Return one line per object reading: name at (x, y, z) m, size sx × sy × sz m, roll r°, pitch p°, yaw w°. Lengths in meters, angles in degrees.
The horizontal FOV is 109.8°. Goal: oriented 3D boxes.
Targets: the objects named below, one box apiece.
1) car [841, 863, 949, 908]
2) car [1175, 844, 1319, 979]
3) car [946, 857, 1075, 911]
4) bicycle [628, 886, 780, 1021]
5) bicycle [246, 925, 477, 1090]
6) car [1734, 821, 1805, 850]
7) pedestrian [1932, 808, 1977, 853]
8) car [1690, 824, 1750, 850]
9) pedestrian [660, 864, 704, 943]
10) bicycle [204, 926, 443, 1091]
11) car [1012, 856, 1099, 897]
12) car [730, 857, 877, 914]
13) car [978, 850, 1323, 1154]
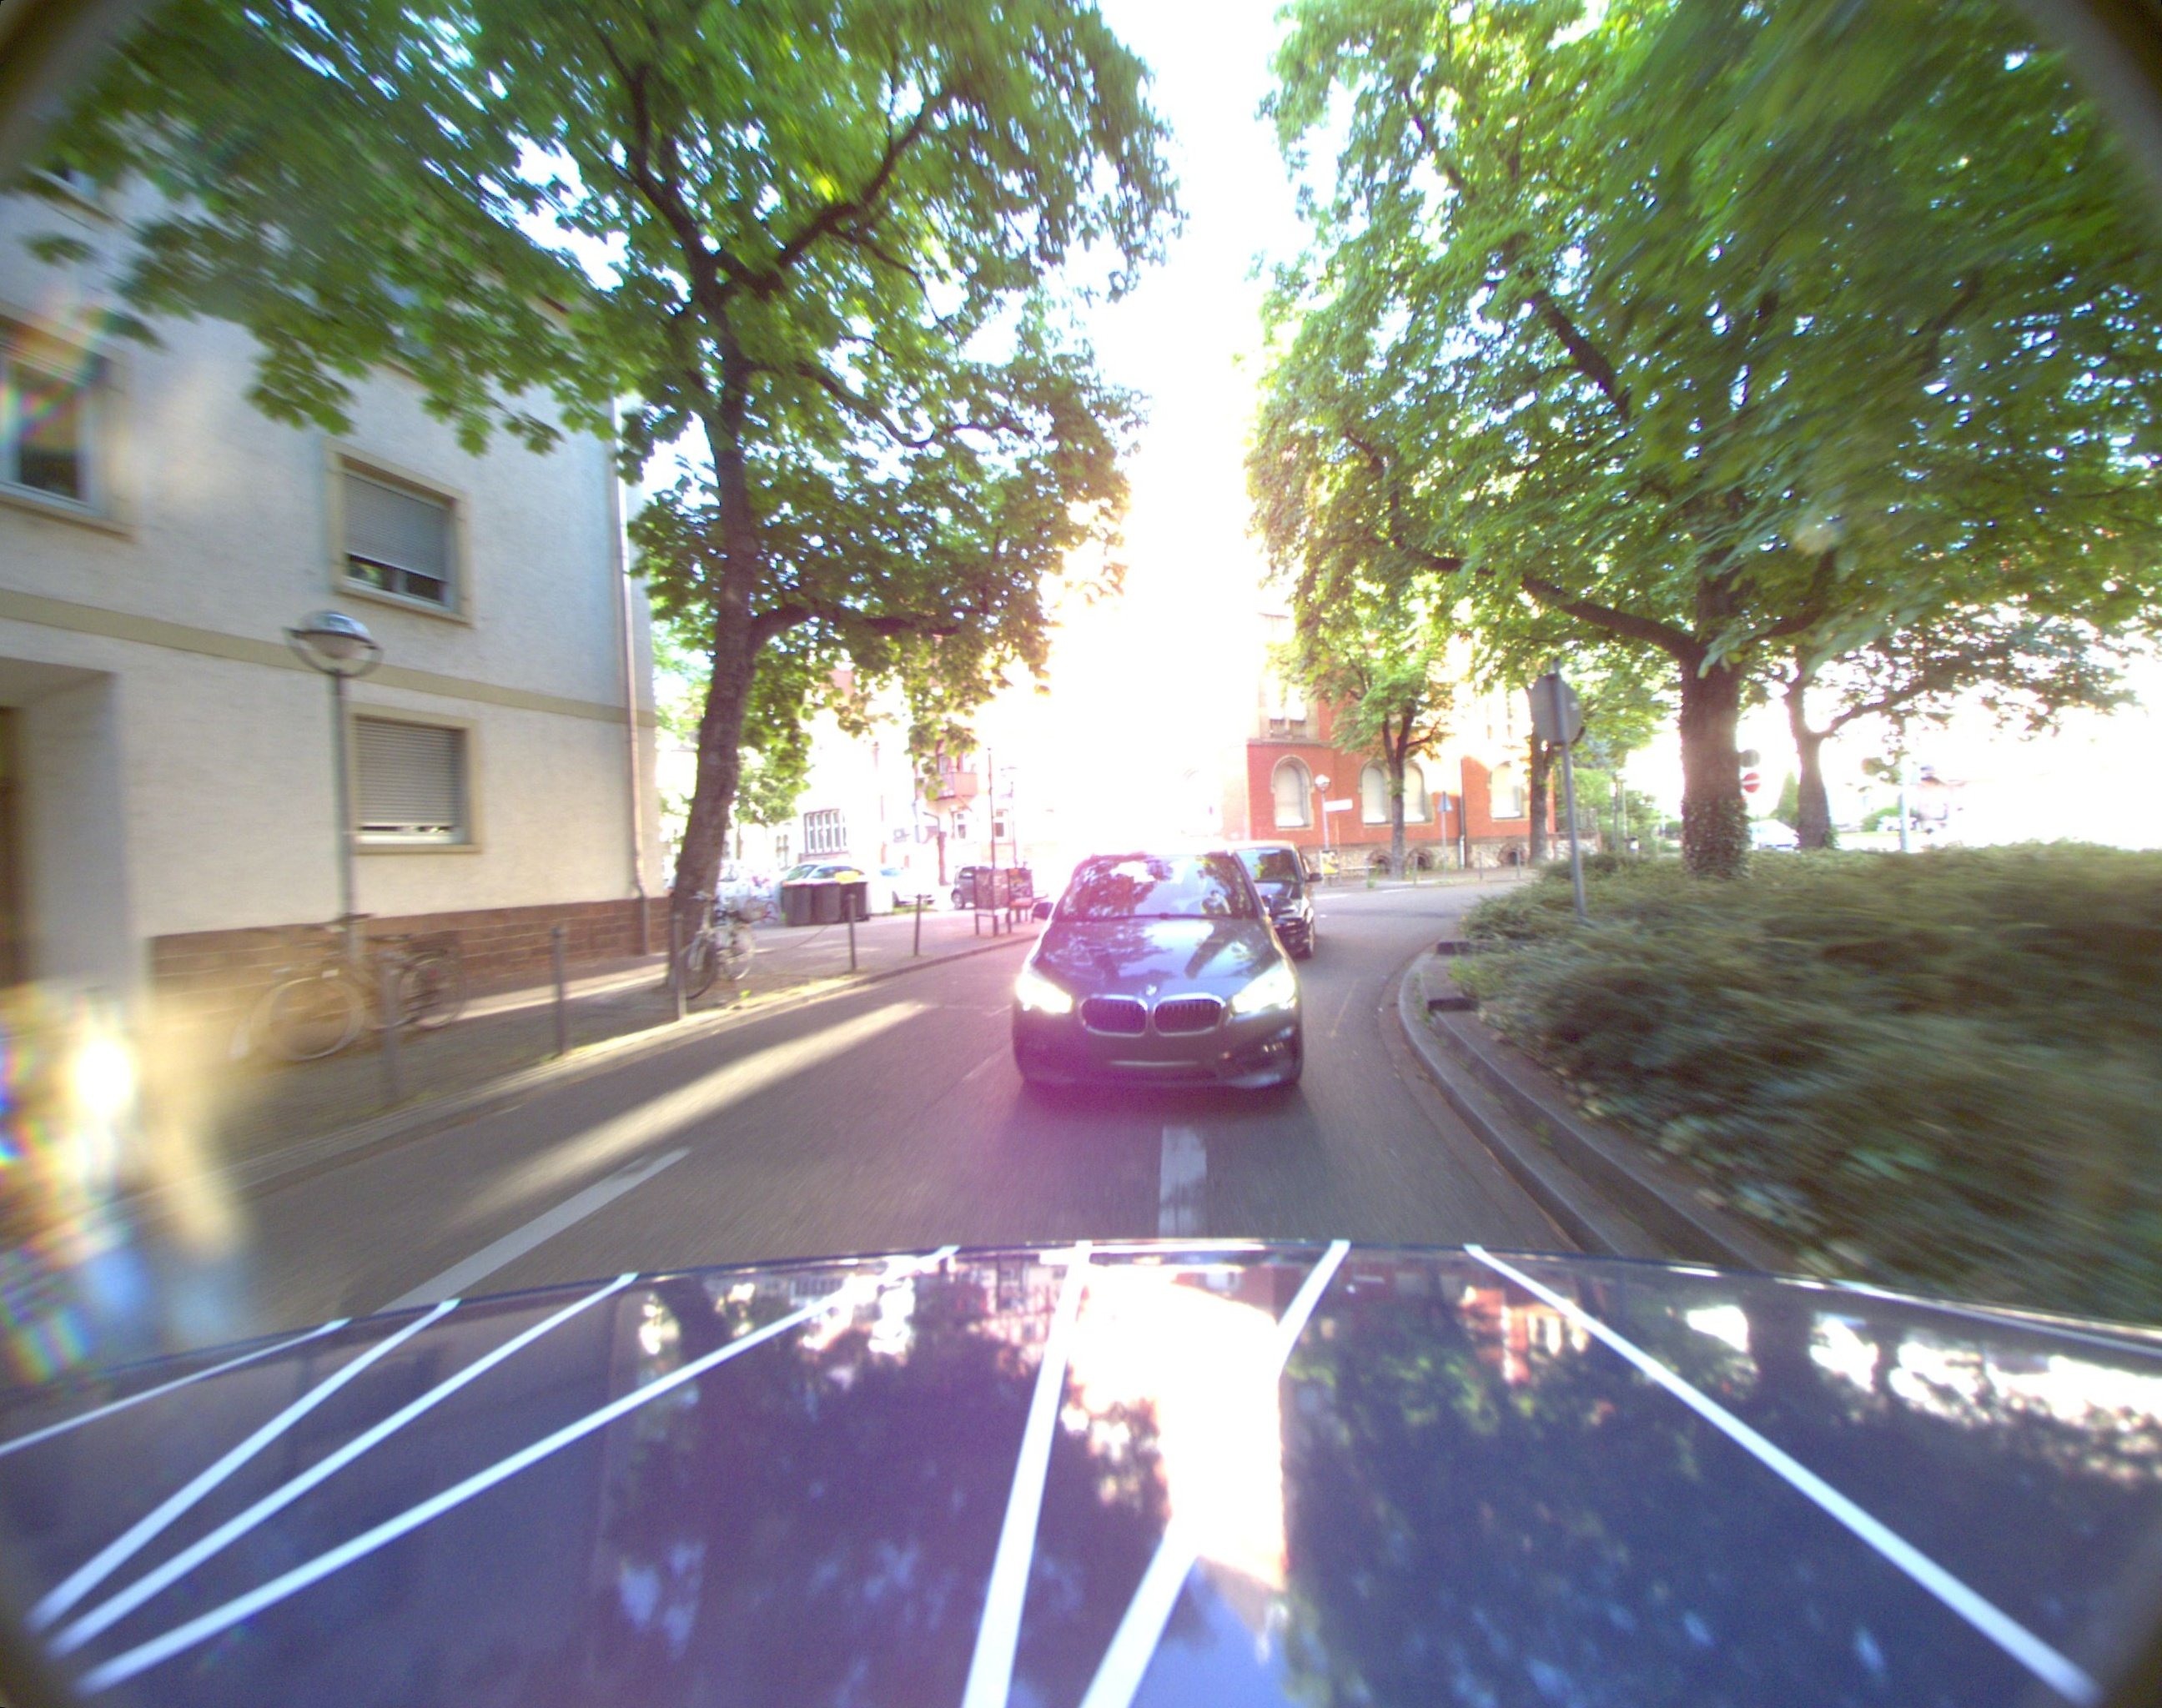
car at (-7.154, 1.208, 29.019) m, size 4.174 × 1.543 × 1.809 m, roll -3°, pitch 0°, yaw 40°
car at (2.579, 0.717, 11.255) m, size 1.677 × 1.619 × 3.692 m, roll -3°, pitch 0°, yaw 17°
car at (-2.325, 0.968, 24.475) m, size 4.041 × 1.543 × 1.700 m, roll -3°, pitch 0°, yaw 40°
bicycle at (-4.339, 1.085, 8.937) m, size 0.767 × 1.297 × 1.903 m, roll -3°, pitch 0°, yaw 0°
bicycle at (-6.170, 1.258, 6.649) m, size 0.334 × 1.087 × 1.636 m, roll -3°, pitch 0°, yaw 3°
car at (36.381, -0.984, 40.246) m, size 1.732 × 1.409 × 4.006 m, roll -3°, pitch 0°, yaw 27°
pedestrian at (33.728, -0.910, 29.344) m, size 0.905 × 1.625 × 0.725 m, roll -5°, pitch 0°, yaw -12°
car at (39.775, -1.072, 47.418) m, size 1.733 × 1.409 × 4.004 m, roll -3°, pitch 2°, yaw 23°
pedestrian at (-8.359, 1.013, 15.943) m, size 0.643 × 1.583 × 0.943 m, roll -2°, pitch 1°, yaw -19°
bicycle at (-6.518, 1.270, 6.668) m, size 0.334 × 1.087 × 1.636 m, roll -3°, pitch 0°, yaw 3°
car at (-1.045, 0.884, 29.959) m, size 3.207 × 1.531 × 1.495 m, roll -2°, pitch 0°, yaw 40°
car at (-8.347, 0.922, 23.091) m, size 1.672 × 1.417 × 3.811 m, roll -3°, pitch 1°, yaw 38°
car at (0.641, 0.796, 6.198) m, size 1.792 × 1.569 × 4.263 m, roll -2°, pitch 0°, yaw 8°
